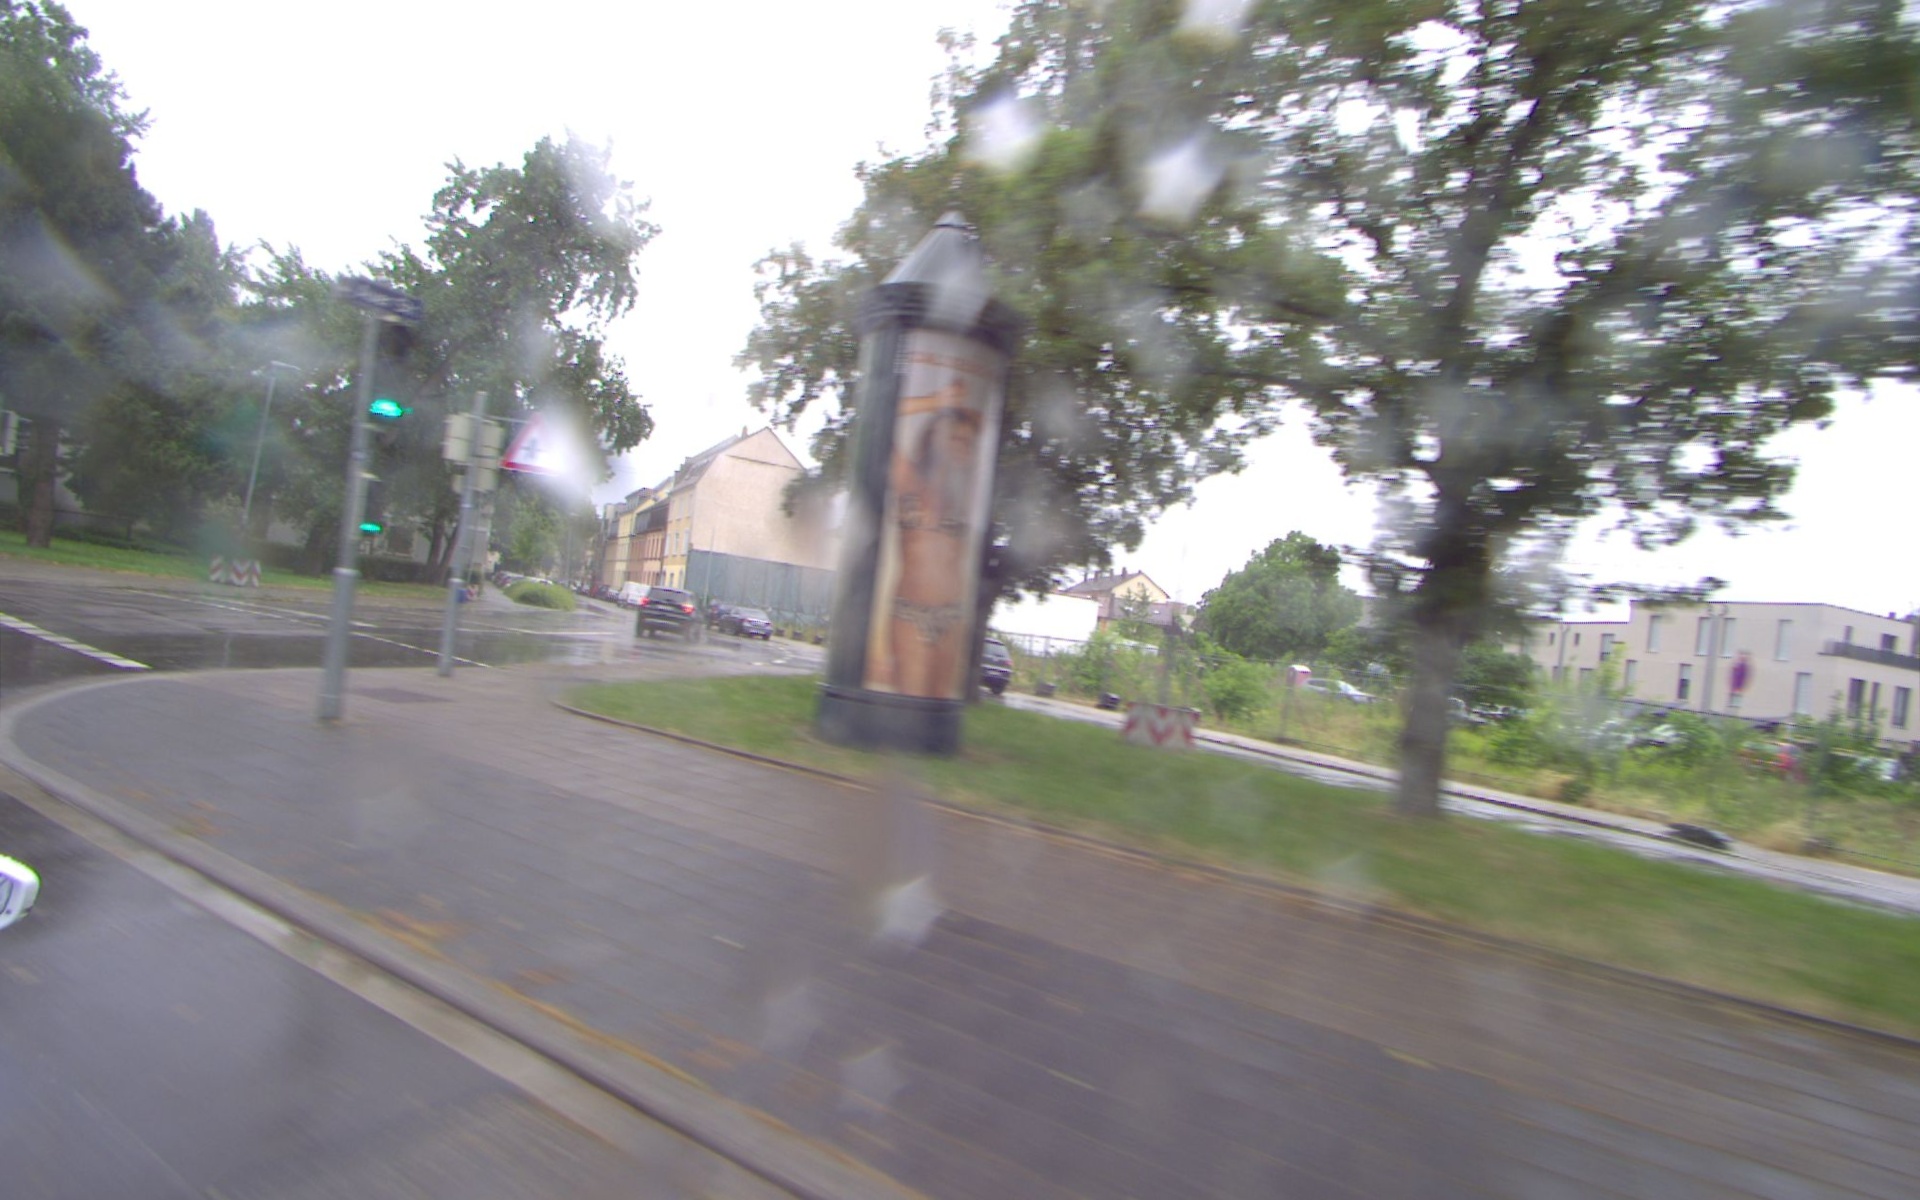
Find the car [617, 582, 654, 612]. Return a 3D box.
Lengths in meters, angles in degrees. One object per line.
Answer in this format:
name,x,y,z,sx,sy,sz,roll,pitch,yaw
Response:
car,-28.247,-0.257,87.427,2.329,2.233,4.587,8,-2,-25

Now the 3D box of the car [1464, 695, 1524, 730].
car,37.718,7.973,71.010,3.956,1.935,1.661,9,-2,-28

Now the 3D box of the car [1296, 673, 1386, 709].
car,19.891,4.765,52.602,1.757,1.280,3.956,9,-3,-40

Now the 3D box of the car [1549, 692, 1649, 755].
car,25.658,4.969,40.349,3.969,2.036,1.980,9,-3,-37

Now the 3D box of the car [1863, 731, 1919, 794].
car,30.481,5.267,31.941,3.969,1.703,1.890,10,-3,-37

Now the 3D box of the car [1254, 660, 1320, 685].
car,21.431,4.757,66.107,1.744,1.148,4.385,8,-3,-18

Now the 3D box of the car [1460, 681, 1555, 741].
car,23.417,4.772,43.007,3.969,2.036,1.980,9,-3,-37

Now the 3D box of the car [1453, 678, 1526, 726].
car,28.738,5.543,54.550,3.973,2.036,1.978,10,-3,-40

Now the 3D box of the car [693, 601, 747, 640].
car,-13.632,1.125,56.928,1.861,1.830,4.063,9,-2,-27

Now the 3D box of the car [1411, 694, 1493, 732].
car,23.018,5.289,47.028,3.965,1.280,1.657,9,-3,-34

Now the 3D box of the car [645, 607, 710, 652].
car,-13.097,1.342,46.429,1.977,1.620,4.063,9,-3,-27

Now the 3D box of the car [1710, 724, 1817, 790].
car,28.737,5.611,35.937,3.969,1.881,1.980,10,-3,-37

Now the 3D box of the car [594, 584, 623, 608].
car,-35.188,-0.433,100.658,2.098,2.036,3.977,8,-2,-25

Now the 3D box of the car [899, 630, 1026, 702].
car,-0.009,2.023,31.503,1.842,1.673,4.271,9,-3,-31

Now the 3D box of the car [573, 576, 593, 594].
car,-51.288,-2.031,136.787,1.976,2.036,3.977,8,-2,-25

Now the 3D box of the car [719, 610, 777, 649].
car,-10.827,1.469,51.203,1.954,1.566,4.509,8,-2,-22

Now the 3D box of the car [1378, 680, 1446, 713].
car,26.184,5.597,58.249,4.370,1.425,1.750,10,-3,-40

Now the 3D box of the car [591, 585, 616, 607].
car,-39.257,-0.464,110.604,1.976,2.036,3.977,8,-2,-25

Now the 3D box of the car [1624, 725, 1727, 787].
car,27.109,5.921,38.074,3.969,1.881,1.980,10,-3,-37

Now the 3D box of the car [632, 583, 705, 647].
car,-9.838,0.517,34.235,1.969,1.763,4.296,8,-2,-13
